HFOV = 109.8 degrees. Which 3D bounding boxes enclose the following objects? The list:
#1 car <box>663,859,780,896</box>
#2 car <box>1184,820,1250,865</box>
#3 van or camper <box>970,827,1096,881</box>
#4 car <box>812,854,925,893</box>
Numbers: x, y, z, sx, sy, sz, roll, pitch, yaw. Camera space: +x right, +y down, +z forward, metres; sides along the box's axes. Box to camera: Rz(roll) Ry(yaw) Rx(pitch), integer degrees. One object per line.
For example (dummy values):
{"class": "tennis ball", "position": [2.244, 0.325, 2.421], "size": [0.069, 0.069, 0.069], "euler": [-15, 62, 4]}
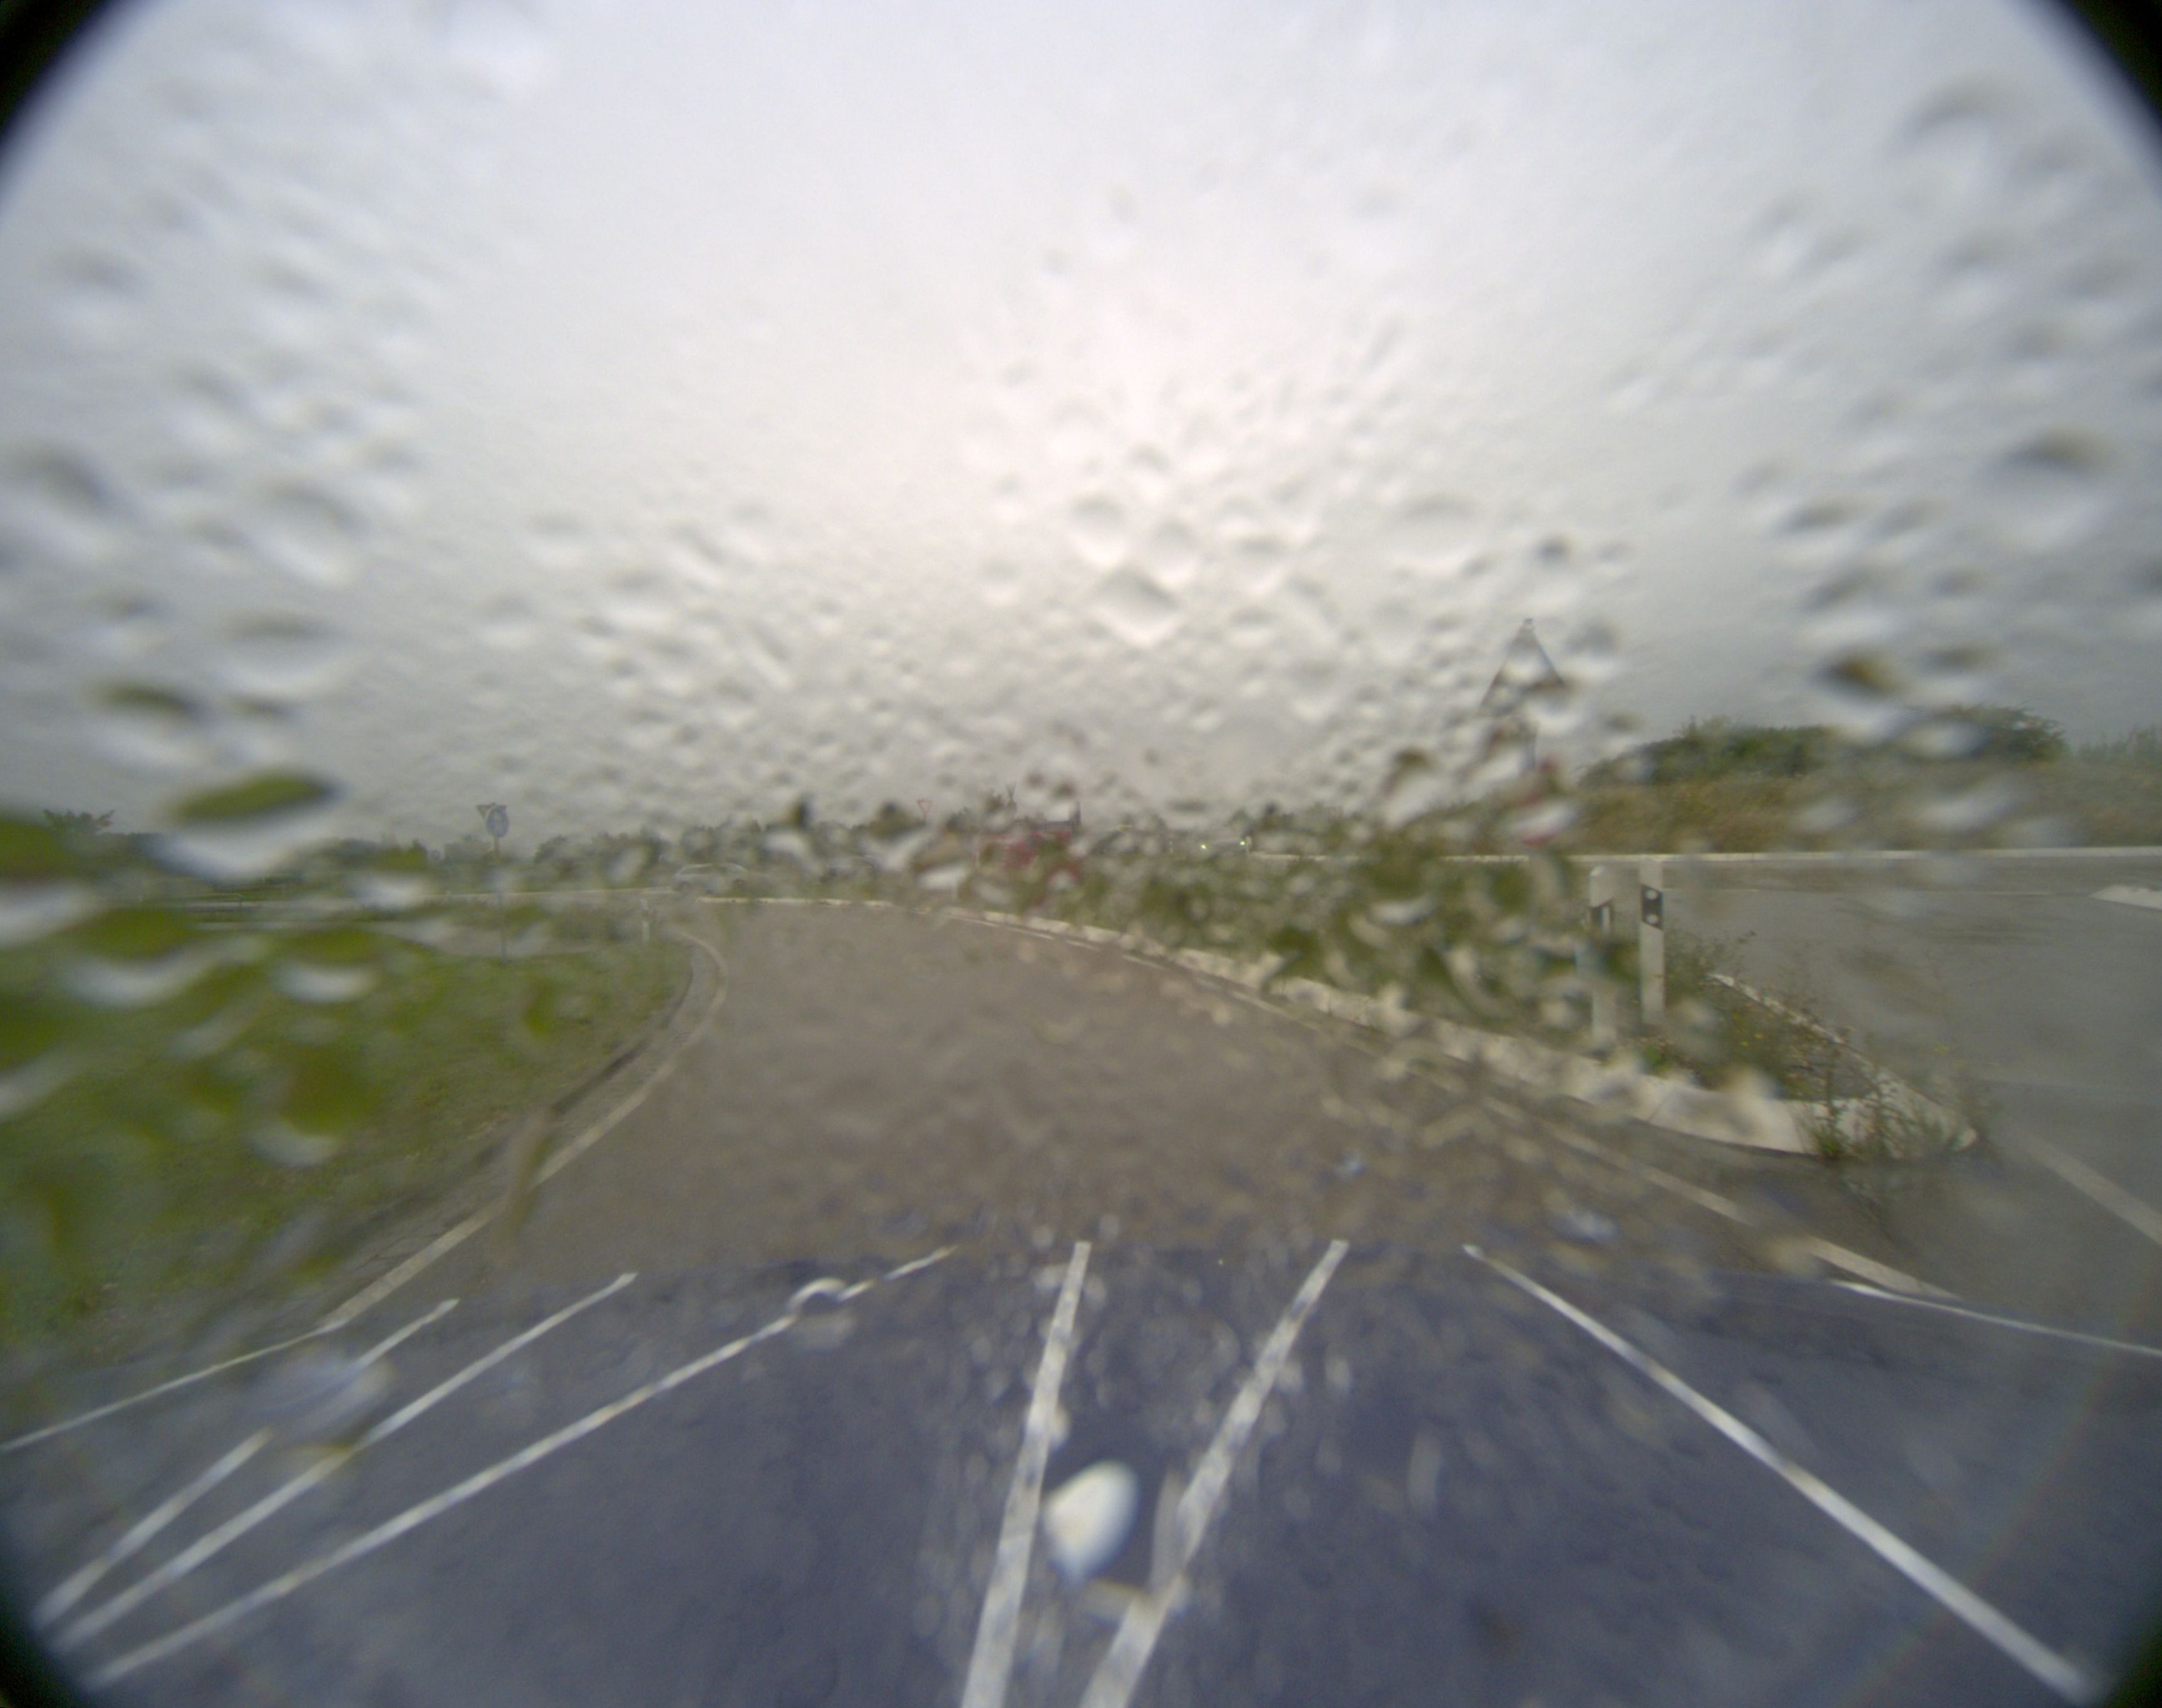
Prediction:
{"class": "car", "position": [-17.249, 1.111, 36.548], "size": [4.655, 1.473, 2.000], "euler": [-2, 3, 10]}
{"class": "car", "position": [5.602, -0.543, 31.782], "size": [1.998, 1.566, 4.498], "euler": [-4, 3, 2]}
{"class": "van or camper", "position": [-2.053, -0.013, 32.482], "size": [4.836, 2.003, 2.002], "euler": [-2, 4, 22]}
{"class": "car", "position": [-9.773, 0.888, 35.099], "size": [4.517, 1.594, 2.002], "euler": [-2, 0, 12]}
